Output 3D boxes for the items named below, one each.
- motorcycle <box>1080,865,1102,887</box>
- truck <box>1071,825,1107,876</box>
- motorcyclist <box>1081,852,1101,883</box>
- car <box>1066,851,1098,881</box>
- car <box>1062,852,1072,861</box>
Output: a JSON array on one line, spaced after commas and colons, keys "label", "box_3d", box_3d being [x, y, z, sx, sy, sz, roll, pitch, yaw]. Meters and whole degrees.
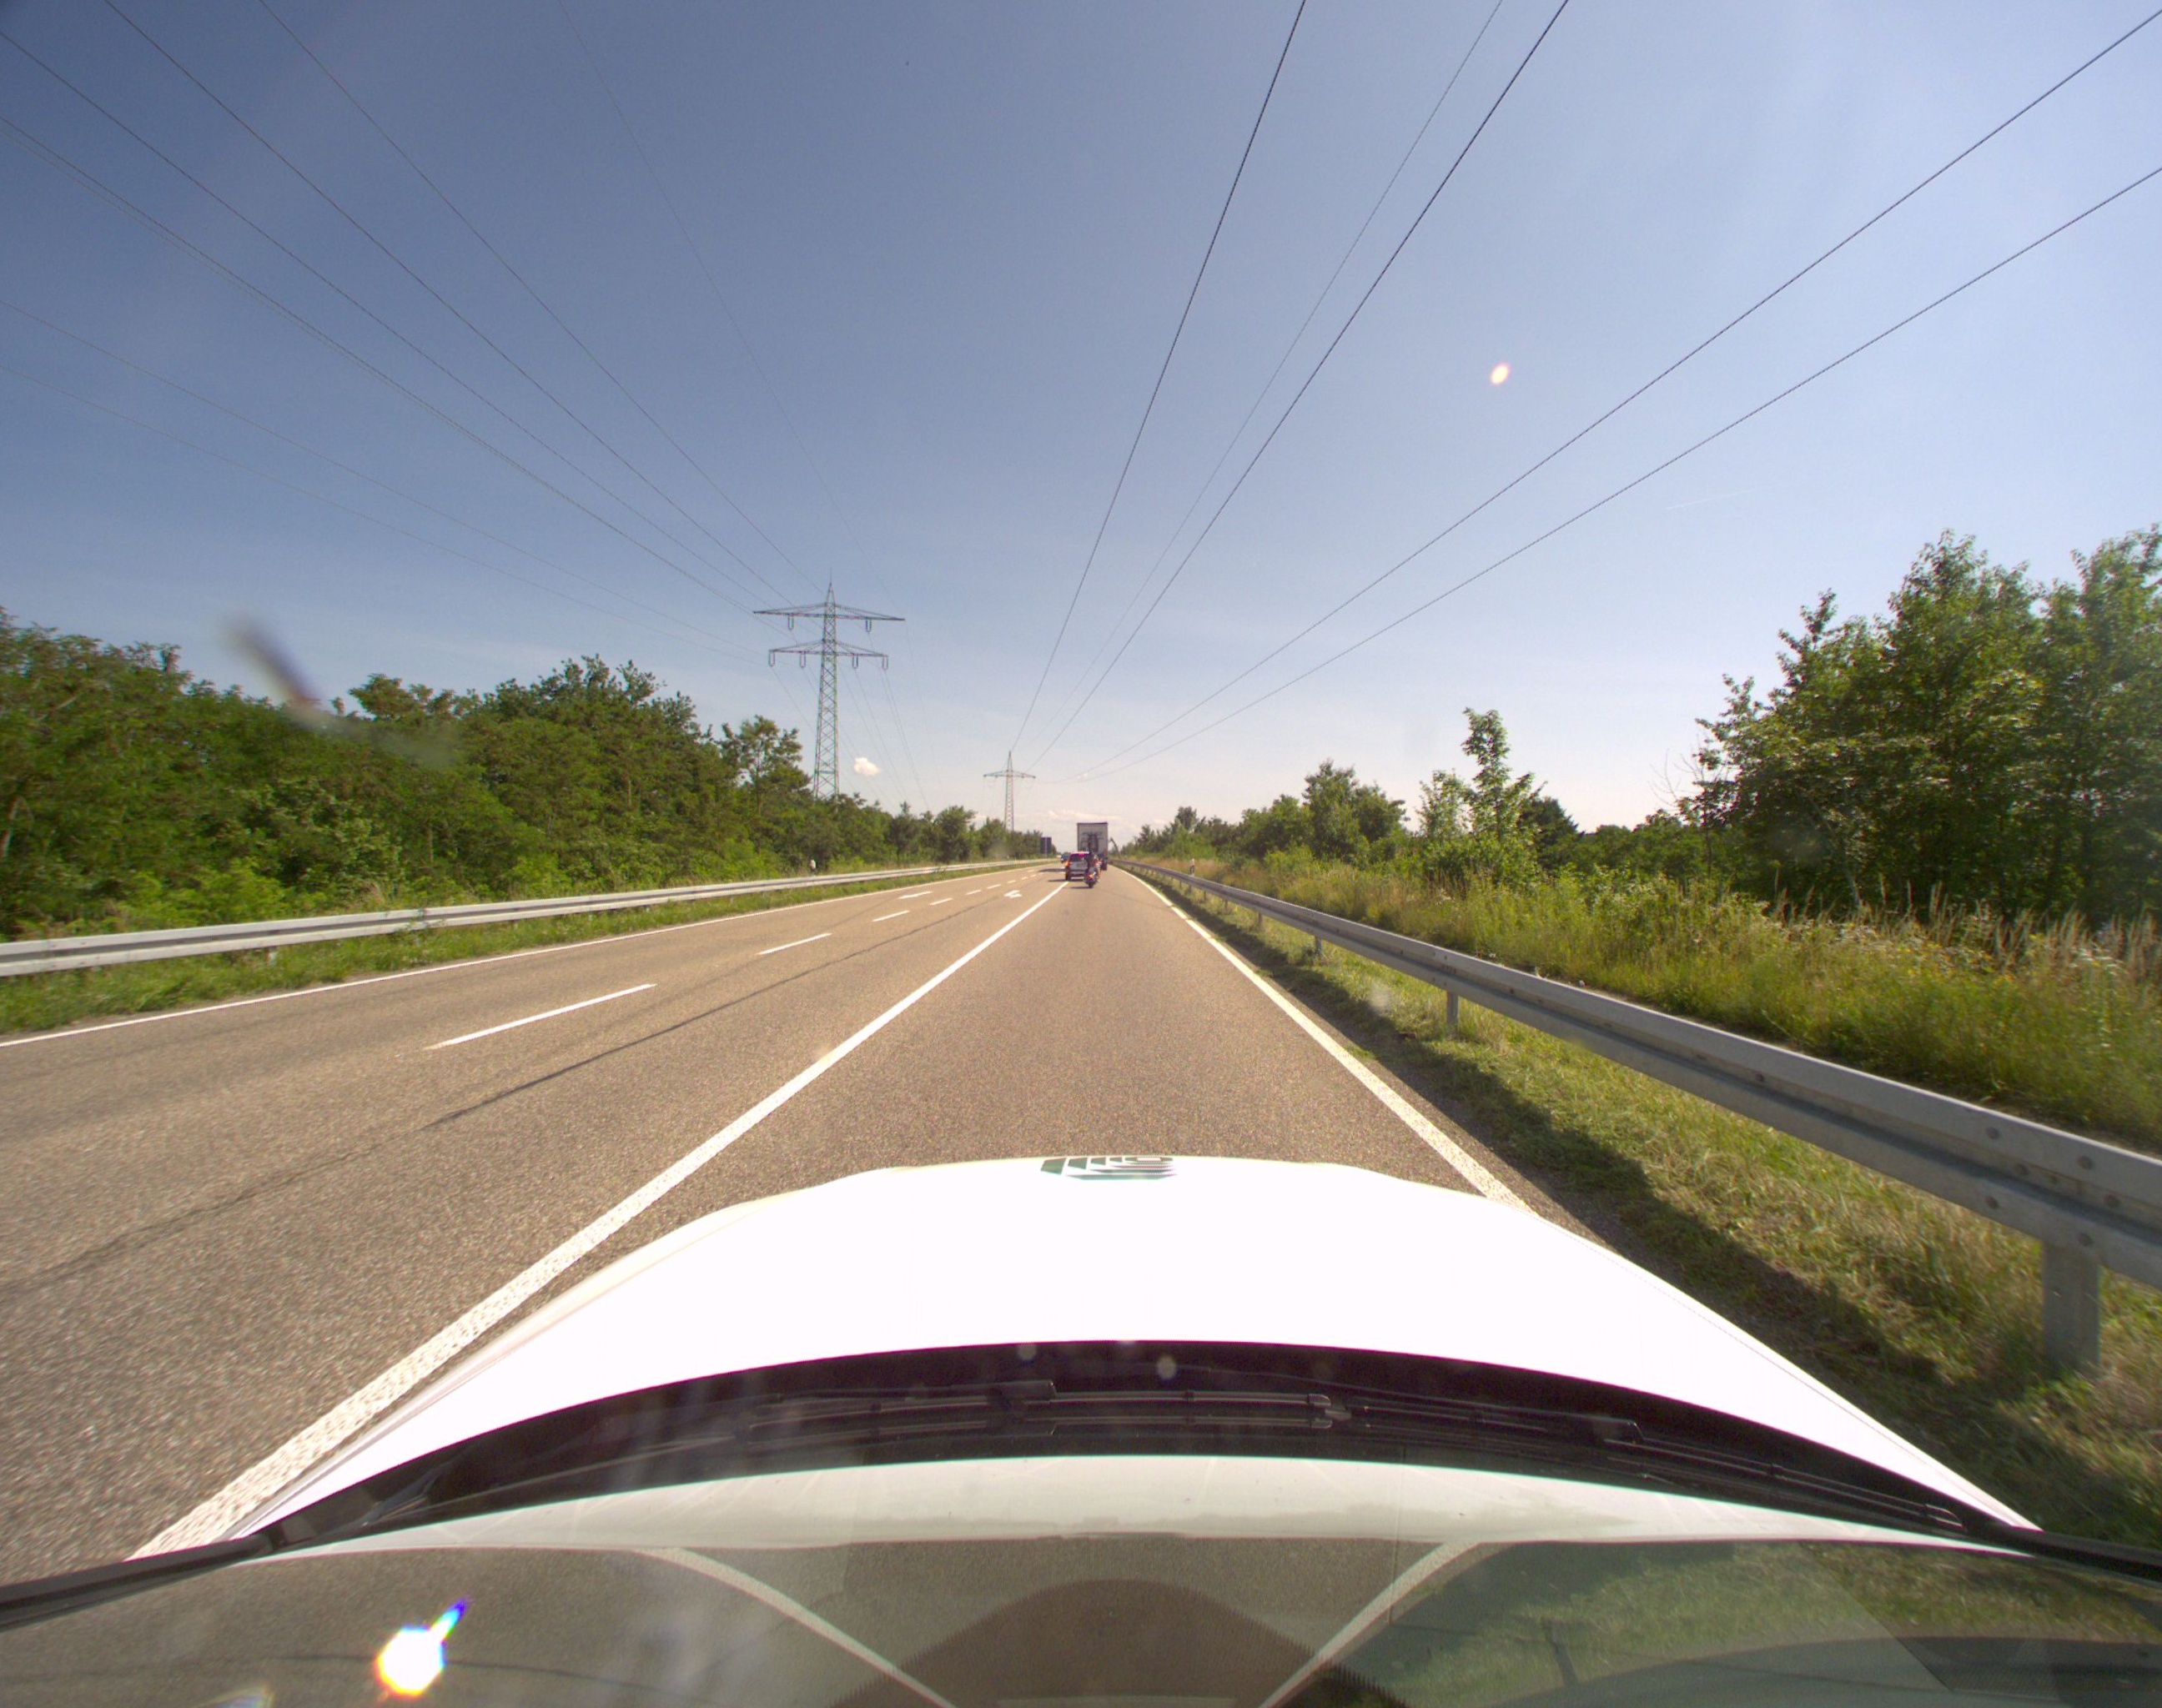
[{"label": "motorcycle", "box_3d": [0.418, 0.923, 34.986, 0.856, 0.915, 2.226, 0, 0, -1]}, {"label": "truck", "box_3d": [0.909, -0.270, 74.618, 2.956, 4.187, 14.827, 0, 0, 2]}, {"label": "motorcyclist", "box_3d": [0.431, 0.574, 34.961, 0.835, 1.280, 0.919, 0, 0, -2]}, {"label": "car", "box_3d": [0.090, 0.639, 44.142, 1.695, 1.536, 3.499, 0, 0, 1]}, {"label": "car", "box_3d": [-2.467, 0.402, 145.942, 1.721, 1.491, 4.422, 0, 0, 0]}]
